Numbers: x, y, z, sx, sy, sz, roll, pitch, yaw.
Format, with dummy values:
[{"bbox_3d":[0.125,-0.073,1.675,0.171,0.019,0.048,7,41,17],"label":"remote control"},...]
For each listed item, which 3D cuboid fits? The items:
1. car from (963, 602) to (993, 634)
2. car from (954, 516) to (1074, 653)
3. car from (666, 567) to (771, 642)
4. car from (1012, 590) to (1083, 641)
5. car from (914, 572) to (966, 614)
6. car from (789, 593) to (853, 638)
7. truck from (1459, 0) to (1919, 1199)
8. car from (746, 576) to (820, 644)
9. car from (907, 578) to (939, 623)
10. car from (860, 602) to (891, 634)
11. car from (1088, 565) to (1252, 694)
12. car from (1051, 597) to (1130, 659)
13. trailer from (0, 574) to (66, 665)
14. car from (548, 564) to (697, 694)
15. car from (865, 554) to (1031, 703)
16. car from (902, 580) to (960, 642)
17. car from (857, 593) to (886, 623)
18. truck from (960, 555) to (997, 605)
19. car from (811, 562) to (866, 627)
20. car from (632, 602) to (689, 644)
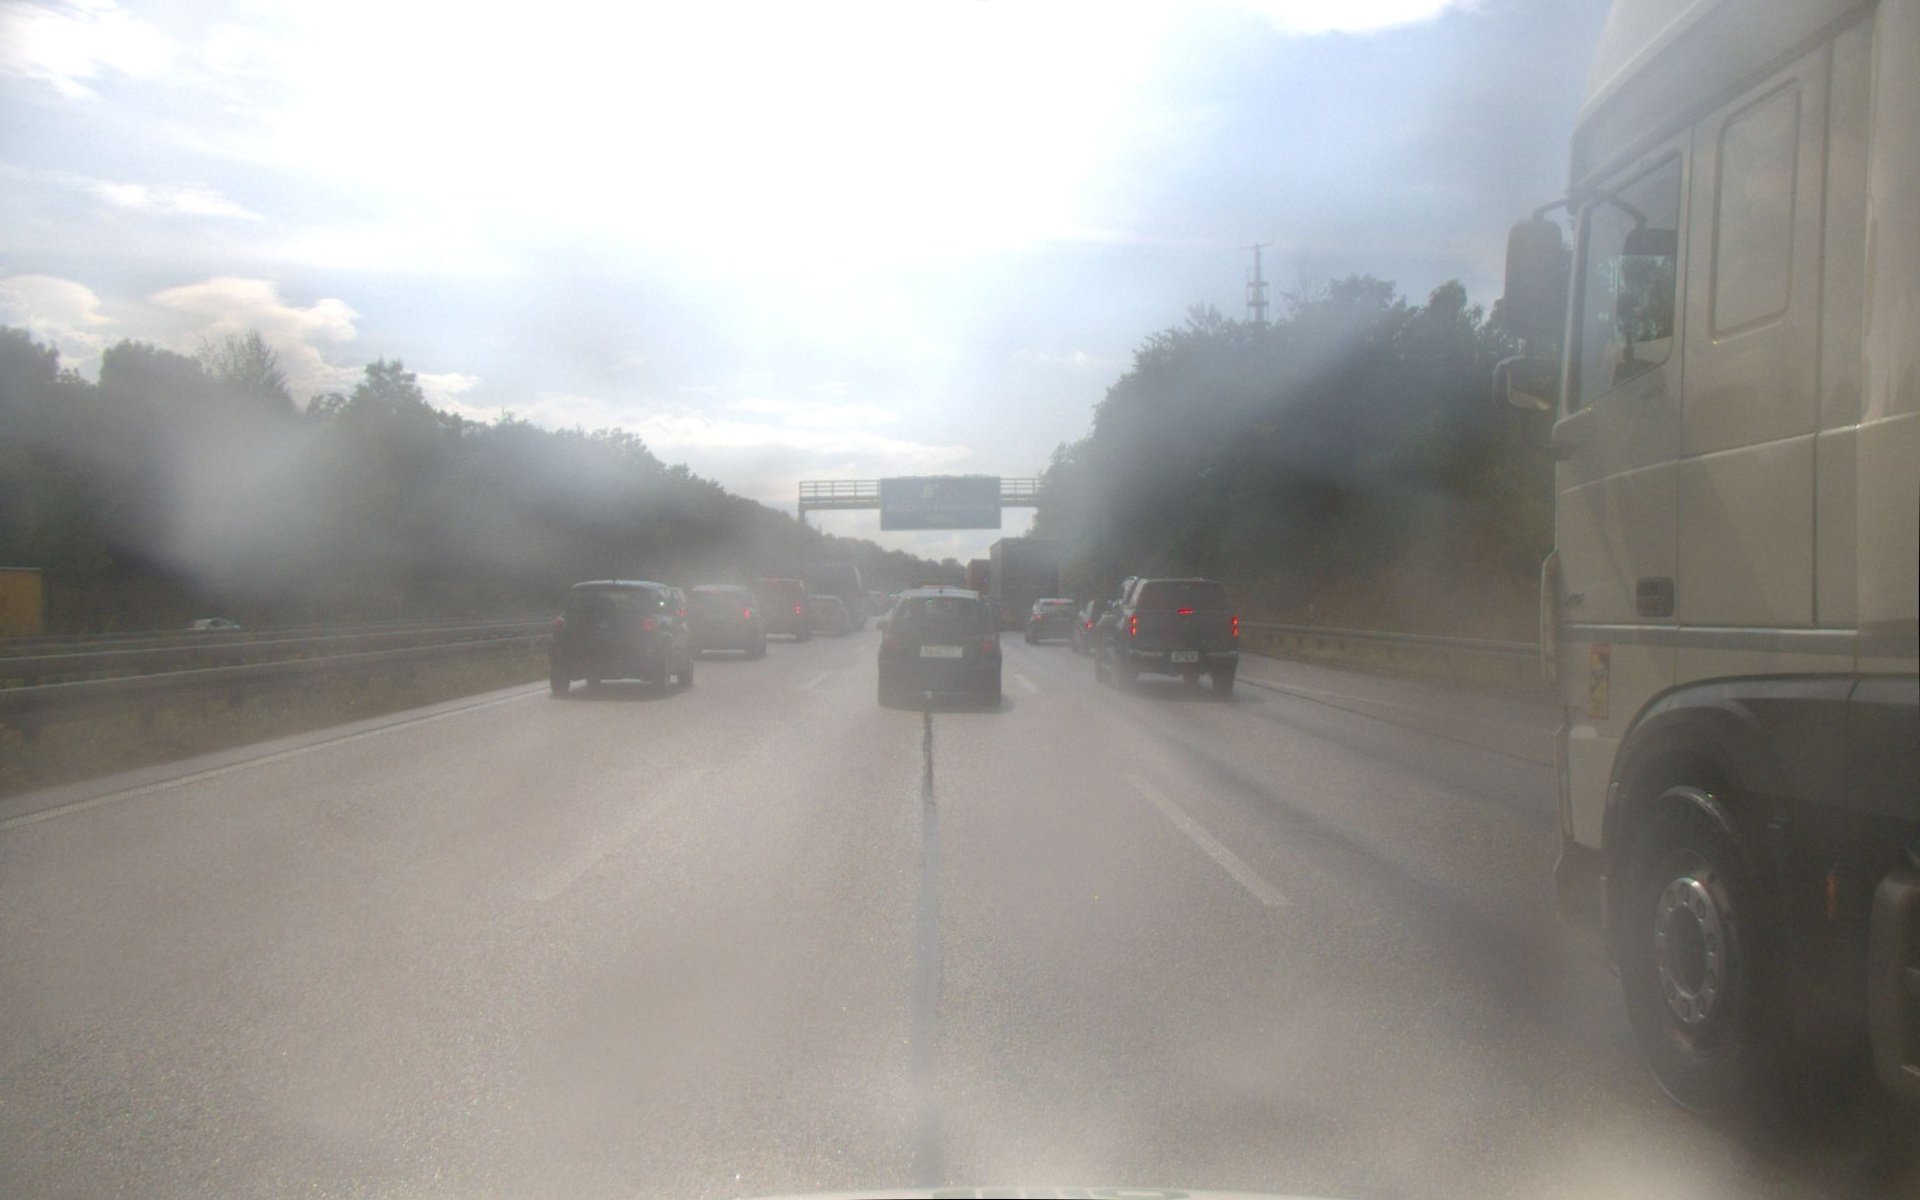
[{"bbox_3d":[1.220,1.250,115.190,1.953,2.152,4.888,1,0,-1],"label":"car"},{"bbox_3d":[2.312,-0.626,80.385,4.316,5.932,16.806,1,0,-3],"label":"car"},{"bbox_3d":[-5.687,0.113,39.503,1.870,1.665,4.616,0,0,-1],"label":"car"},{"bbox_3d":[2.757,0.479,52.939,1.827,1.542,3.973,1,0,-3],"label":"car"},{"bbox_3d":[-0.801,-0.244,63.871,1.827,1.542,3.973,1,0,-3],"label":"car"},{"bbox_3d":[-5.080,0.564,60.962,1.953,1.592,4.755,1,0,-1],"label":"car"},{"bbox_3d":[3.711,-0.484,3.367,3.218,3.959,6.393,1,0,-2],"label":"truck"},{"bbox_3d":[-5.736,0.322,54.139,1.938,2.090,4.755,1,0,-1],"label":"car"},{"bbox_3d":[-2.340,0.022,106.243,1.953,2.794,5.258,1,0,-1],"label":"car"},{"bbox_3d":[-5.980,1.261,116.985,1.953,2.152,4.888,1,0,-1],"label":"car"},{"bbox_3d":[3.444,0.464,28.170,1.902,1.952,5.650,1,0,-2],"label":"car"},{"bbox_3d":[3.396,0.721,43.488,1.559,1.542,3.973,1,0,-3],"label":"car"},{"bbox_3d":[-46.354,0.851,74.725,3.707,4.189,11.735,1,0,12],"label":"trailer"},{"bbox_3d":[-5.140,0.422,25.660,1.659,1.836,3.973,1,0,-3],"label":"car"},{"bbox_3d":[-0.269,0.403,24.840,2.229,1.989,4.818,1,0,-3],"label":"car"},{"bbox_3d":[-0.941,0.339,51.970,1.659,1.836,3.973,1,0,-3],"label":"car"},{"bbox_3d":[-6.627,0.606,124.765,1.953,2.152,4.888,1,0,-1],"label":"car"},{"bbox_3d":[1.408,-1.486,127.440,2.719,3.695,5.915,1,0,-1],"label":"truck"},{"bbox_3d":[-5.173,-0.211,70.954,1.953,2.661,5.258,1,0,-1],"label":"car"},{"bbox_3d":[-14.371,1.077,79.619,1.913,1.924,5.056,1,0,-2],"label":"car"}]
